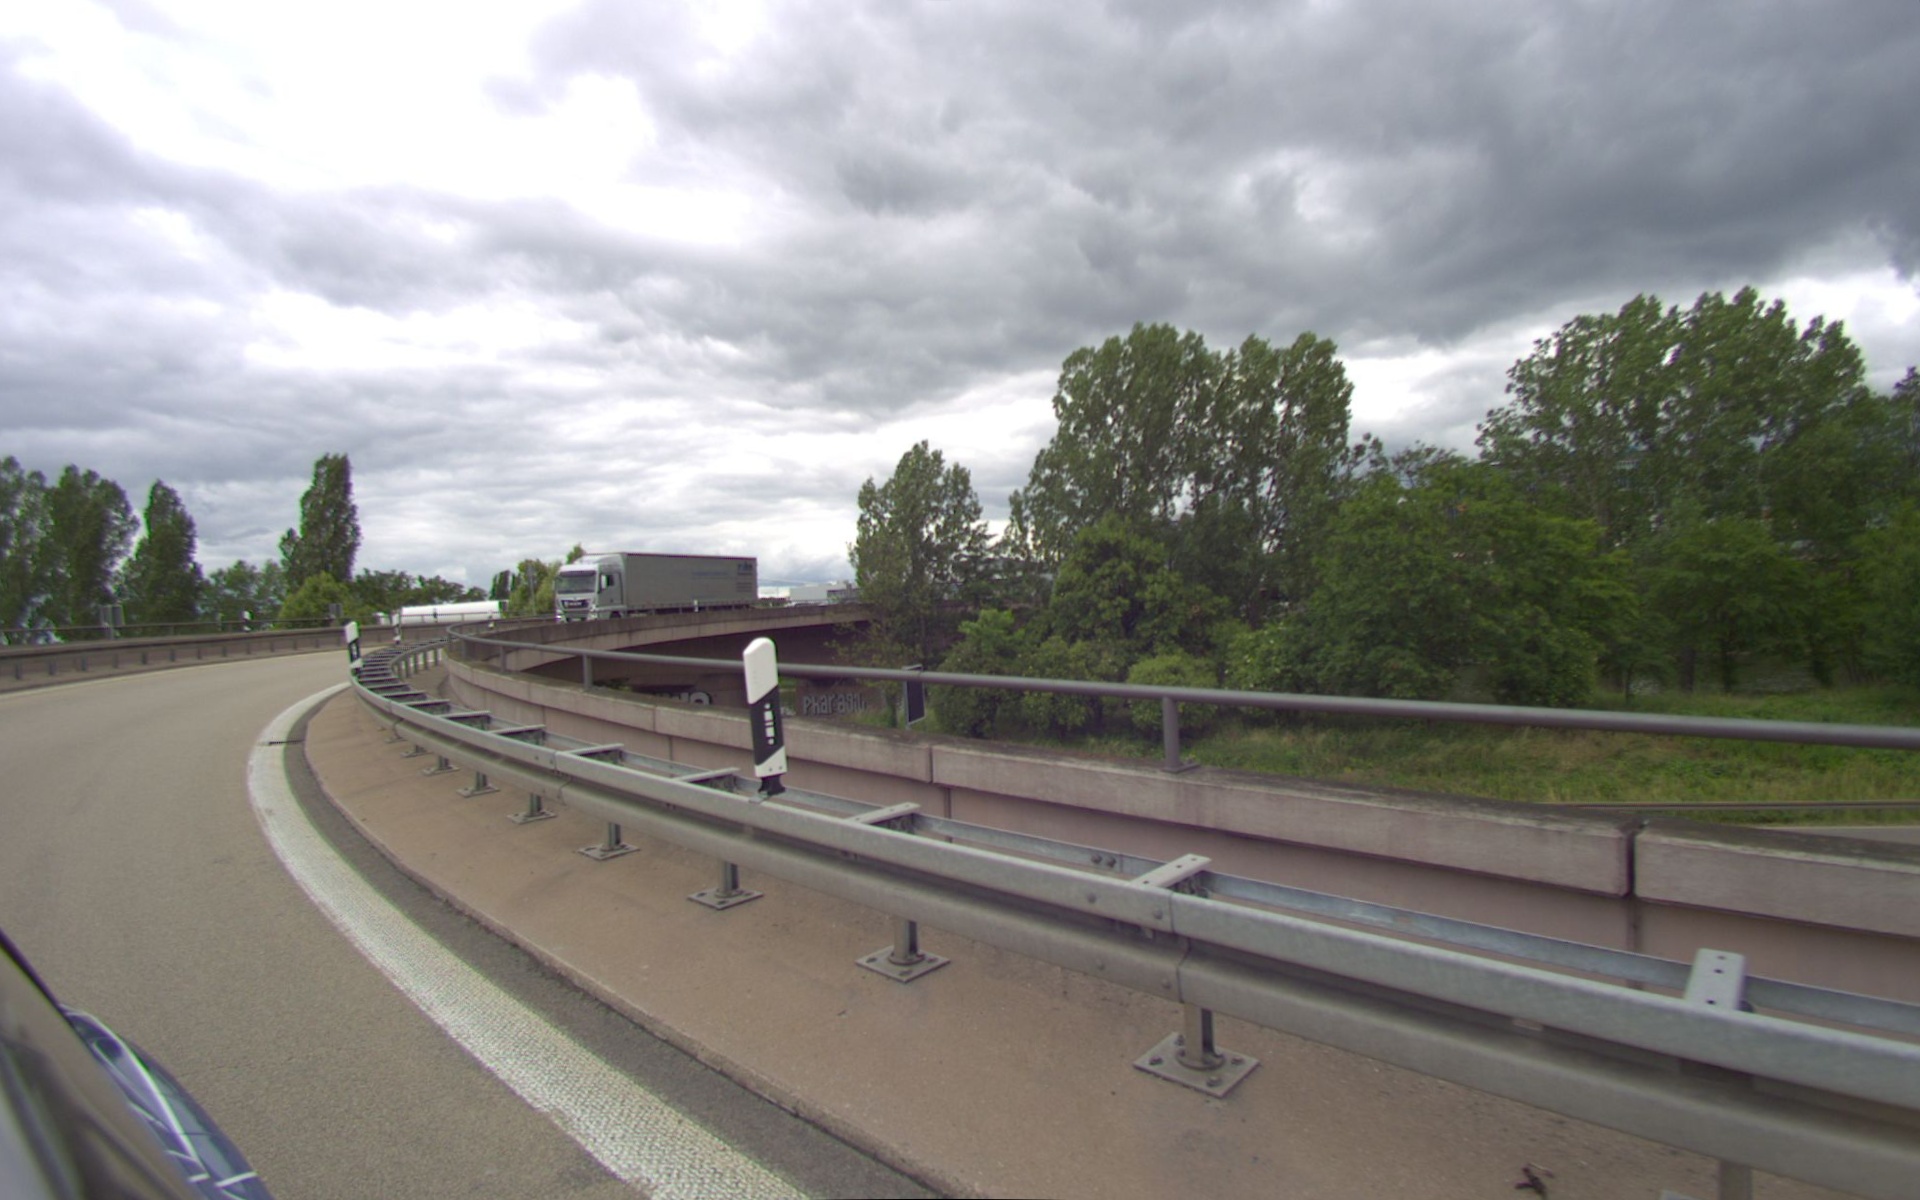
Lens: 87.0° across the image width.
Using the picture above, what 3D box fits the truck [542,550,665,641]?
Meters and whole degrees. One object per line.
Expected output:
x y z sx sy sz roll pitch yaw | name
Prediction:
-17.912 -0.246 51.302 2.712 4.260 6.169 -3 0 16 | truck

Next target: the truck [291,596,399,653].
-43.141 1.684 71.182 6.094 3.673 2.746 -3 0 -24 | truck

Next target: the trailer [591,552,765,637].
-15.774 -0.357 58.526 2.726 4.269 13.371 -3 0 17 | trailer

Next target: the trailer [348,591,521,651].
-37.923 1.461 73.512 10.815 3.677 2.758 -3 0 -25 | trailer
